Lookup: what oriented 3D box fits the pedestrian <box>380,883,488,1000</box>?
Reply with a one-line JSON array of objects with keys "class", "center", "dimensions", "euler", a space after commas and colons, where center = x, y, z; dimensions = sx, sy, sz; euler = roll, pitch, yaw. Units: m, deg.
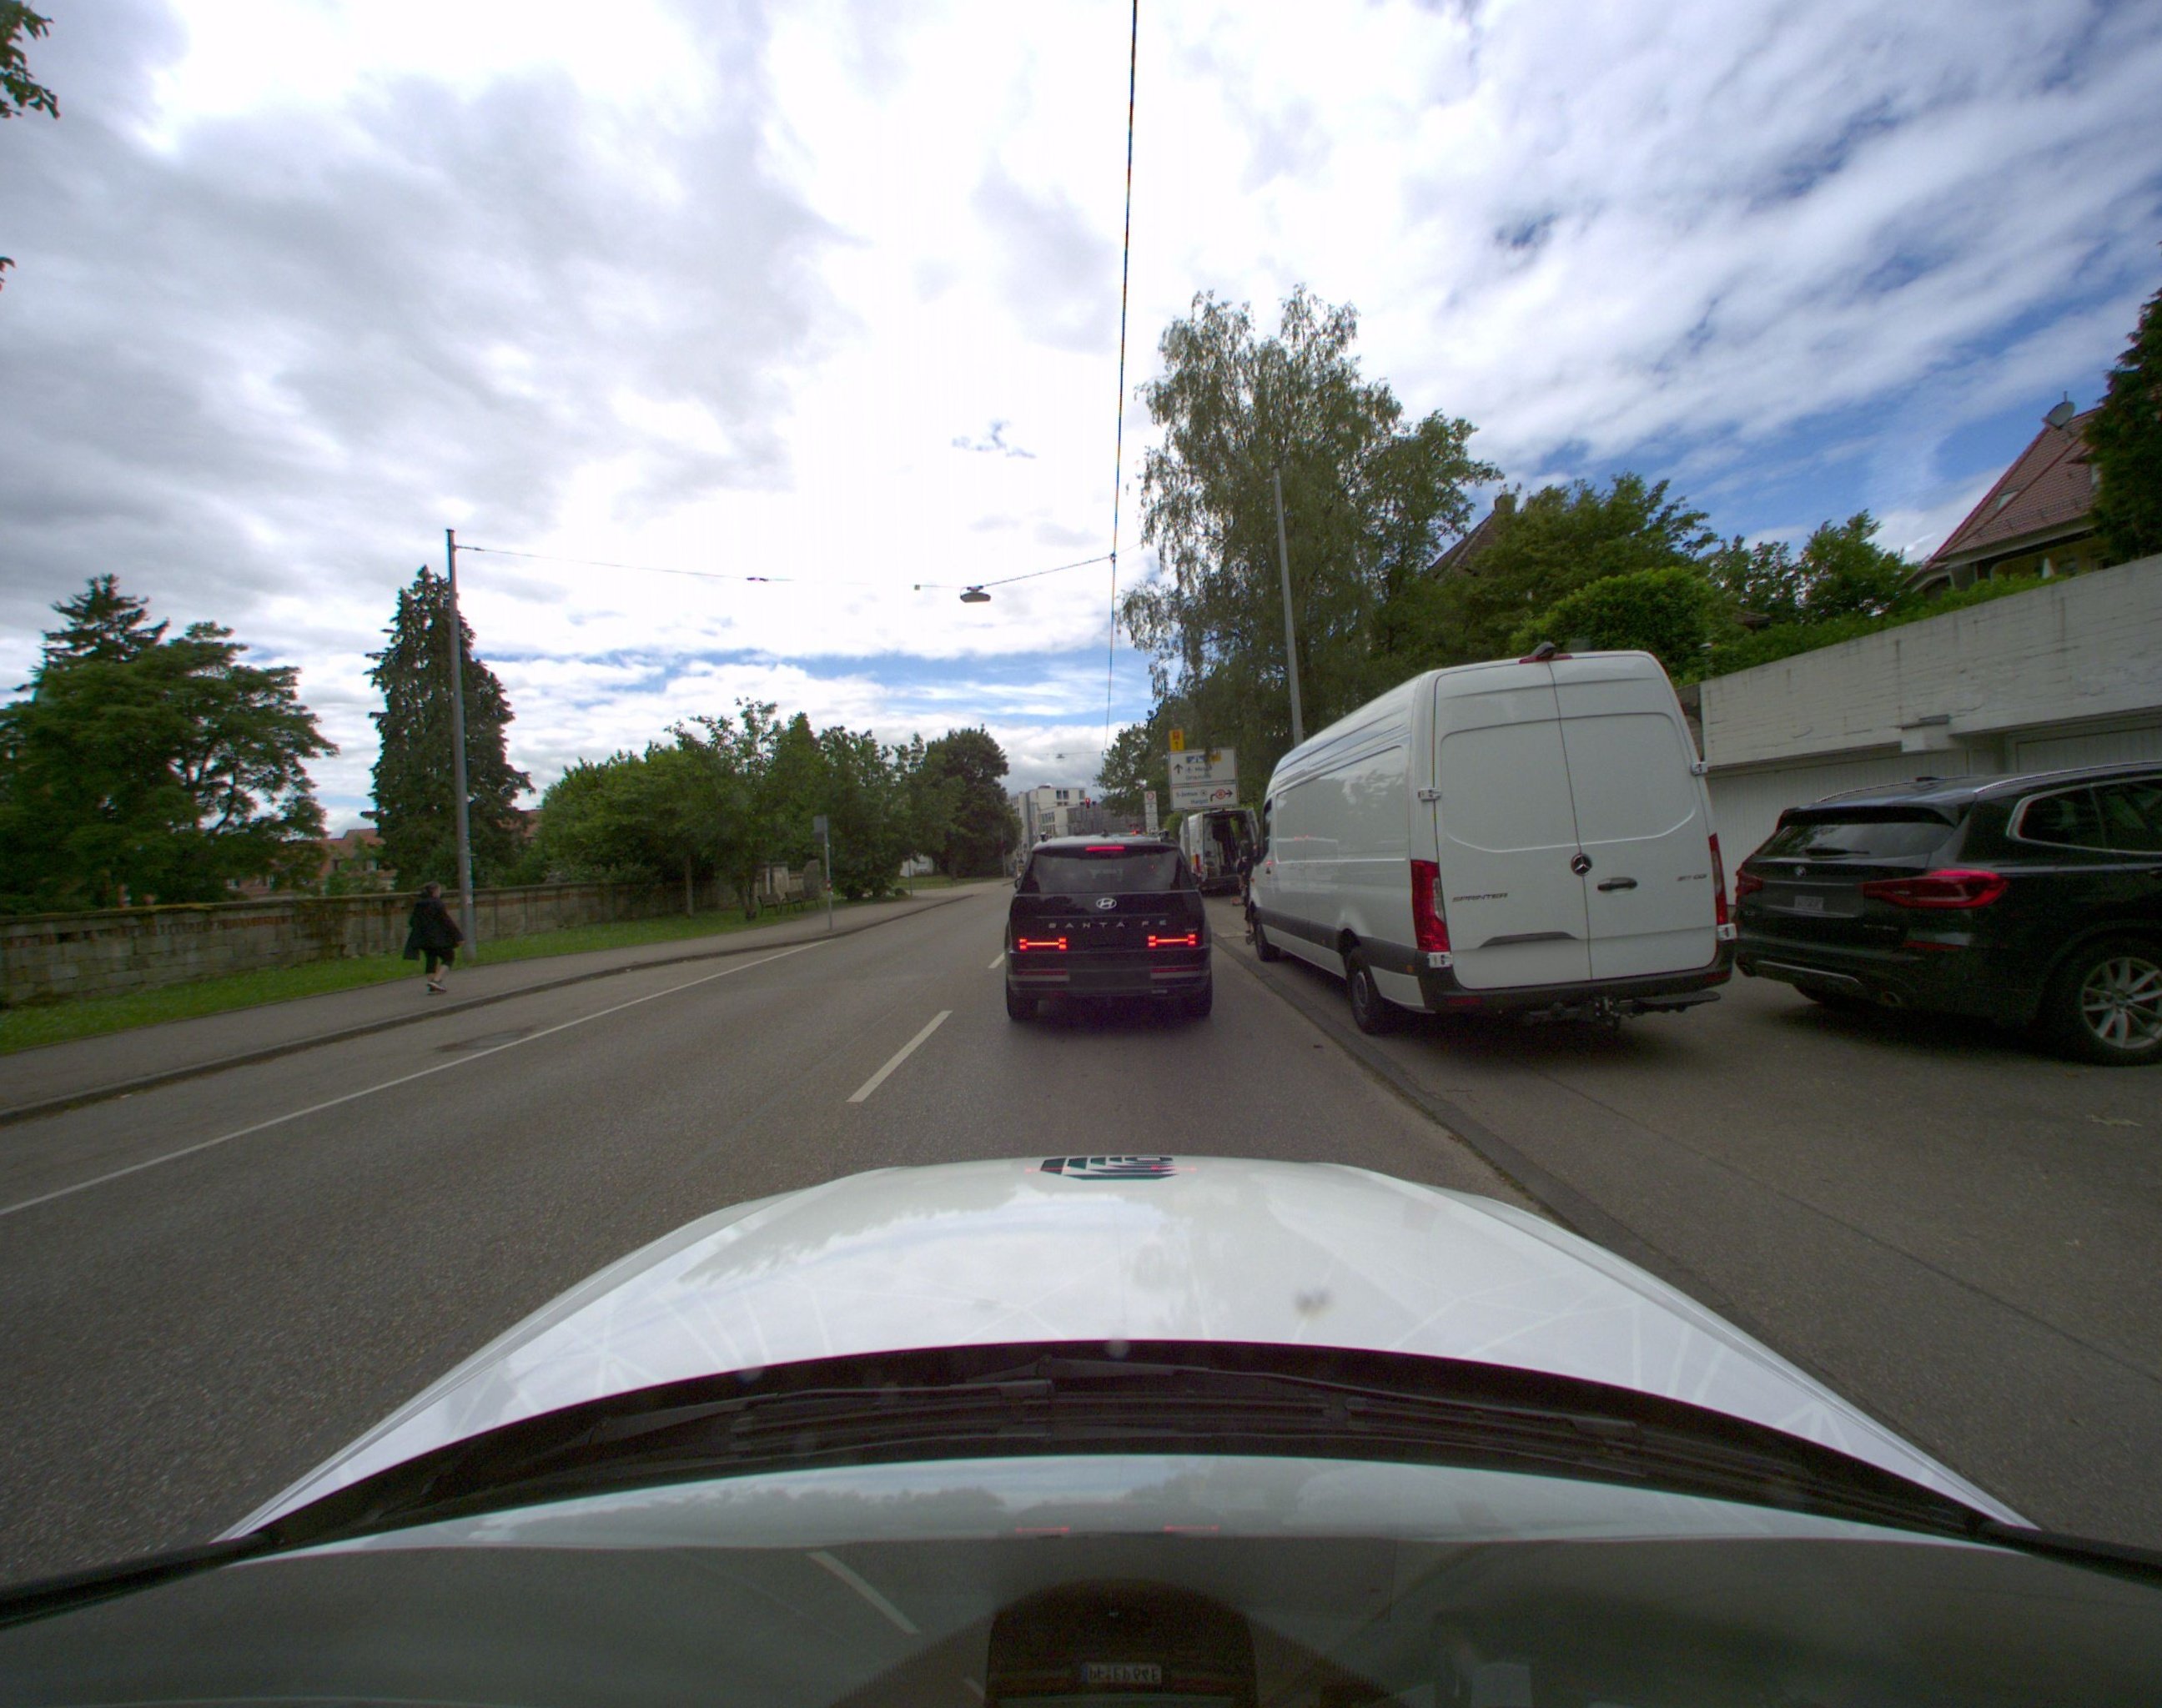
[{"class": "pedestrian", "center": [-9.407, 1.248, 11.877], "dimensions": [0.746, 1.578, 0.967], "euler": [-2, 0, 1]}]

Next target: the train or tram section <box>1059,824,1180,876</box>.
[{"class": "train or tram section", "center": [3.467, -0.160, 85.223], "dimensions": [3.213, 4.523, 18.505], "euler": [-1, -2, -29]}]

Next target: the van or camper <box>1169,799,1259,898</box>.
[{"class": "van or camper", "center": [4.249, -0.168, 26.939], "dimensions": [1.957, 2.797, 5.288], "euler": [-5, 0, 1]}]

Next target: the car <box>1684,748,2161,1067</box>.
[{"class": "car", "center": [6.849, 0.186, 5.295], "dimensions": [4.376, 1.652, 1.831], "euler": [-4, 0, 2]}]

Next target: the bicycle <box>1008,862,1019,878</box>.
[{"class": "bicycle", "center": [-5.826, 1.378, 70.246], "dimensions": [0.675, 1.279, 2.492], "euler": [-2, -2, -10]}]

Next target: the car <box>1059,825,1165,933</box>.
[{"class": "car", "center": [0.638, 0.479, 17.611], "dimensions": [1.957, 2.001, 4.001], "euler": [-2, 0, 1]}]

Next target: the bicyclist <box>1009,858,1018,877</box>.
[{"class": "bicyclist", "center": [-5.836, 1.165, 70.282], "dimensions": [0.675, 1.659, 0.855], "euler": [-1, -2, -11]}]

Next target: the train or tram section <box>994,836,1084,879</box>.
[{"class": "train or tram section", "center": [-5.607, 0.657, 101.374], "dimensions": [3.213, 4.523, 18.505], "euler": [-1, -2, -29]}]

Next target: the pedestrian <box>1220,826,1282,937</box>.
[{"class": "pedestrian", "center": [2.822, 0.453, 13.548], "dimensions": [0.619, 1.743, 0.601], "euler": [-6, -1, -18]}]

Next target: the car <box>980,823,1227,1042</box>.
[{"class": "car", "center": [0.220, 0.644, 8.651], "dimensions": [1.957, 1.711, 4.001], "euler": [-2, 0, 1]}]

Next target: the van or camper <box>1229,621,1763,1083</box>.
[{"class": "van or camper", "center": [3.093, -0.010, 8.123], "dimensions": [1.957, 2.627, 6.359], "euler": [-5, 0, 1]}]
